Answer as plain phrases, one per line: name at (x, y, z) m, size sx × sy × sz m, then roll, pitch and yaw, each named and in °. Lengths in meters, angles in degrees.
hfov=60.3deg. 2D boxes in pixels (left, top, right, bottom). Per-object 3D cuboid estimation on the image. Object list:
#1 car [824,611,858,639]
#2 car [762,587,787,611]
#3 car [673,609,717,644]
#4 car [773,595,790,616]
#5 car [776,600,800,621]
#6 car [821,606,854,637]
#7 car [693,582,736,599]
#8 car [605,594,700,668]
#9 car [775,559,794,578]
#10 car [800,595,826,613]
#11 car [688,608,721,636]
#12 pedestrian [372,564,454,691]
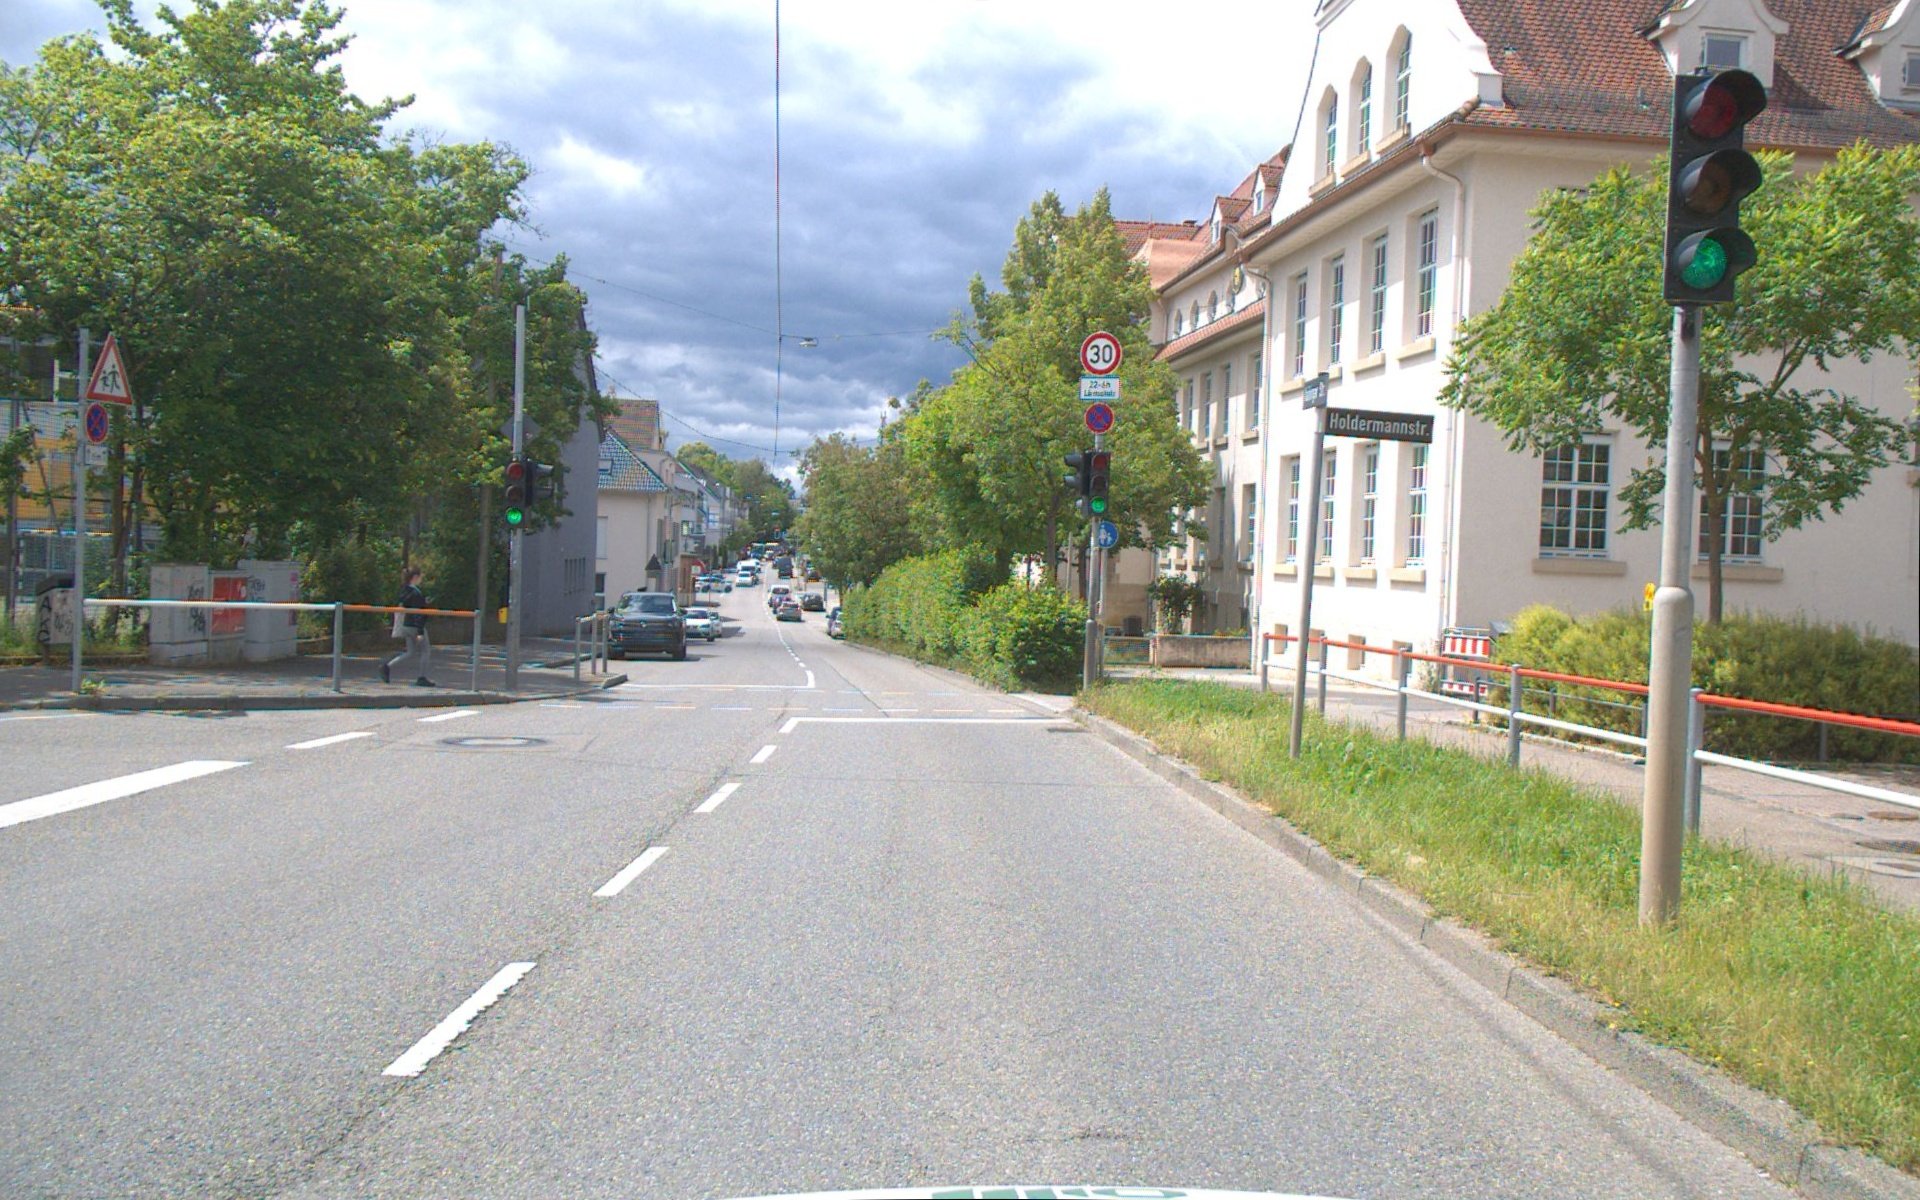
car at (-7.055, 1.472, 97.455) m, size 1.752 × 1.535 × 4.358 m, roll 2°, pitch -1°, yaw -7°
car at (-16.427, -0.106, 146.254) m, size 1.804 × 1.894 × 3.841 m, roll 2°, pitch 2°, yaw -11°
car at (-11.697, 1.166, 73.101) m, size 1.665 × 1.414 × 3.861 m, roll 2°, pitch 0°, yaw -6°
car at (-14.817, 0.464, 137.320) m, size 1.250 × 1.553 × 3.045 m, roll 1°, pitch 3°, yaw -9°
car at (-13.263, 0.768, 127.481) m, size 1.711 × 1.441 × 3.993 m, roll 2°, pitch 1°, yaw -8°
car at (-7.648, 1.326, 103.272) m, size 1.809 × 1.798 × 4.508 m, roll 2°, pitch -1°, yaw -7°
car at (-24.919, -0.966, 167.940) m, size 3.951 × 1.518 × 1.768 m, roll 4°, pitch -1°, yaw -34°
car at (-7.441, 0.715, 40.384) m, size 1.760 × 1.638 × 4.641 m, roll 2°, pitch 0°, yaw -5°
car at (-24.096, -4.260, 226.649) m, size 2.390 × 2.359 × 5.318 m, roll 3°, pitch 0°, yaw -7°
car at (-12.774, 0.350, 143.452) m, size 1.722 × 1.394 × 3.990 m, roll 2°, pitch 2°, yaw -11°
car at (-14.114, 1.206, 91.451) m, size 1.616 × 1.443 × 3.692 m, roll 3°, pitch -1°, yaw -7°
pedestrian at (-7.196, 0.361, 21.760) m, size 0.766 × 1.625 × 0.661 m, roll 3°, pitch -1°, yaw -43°
